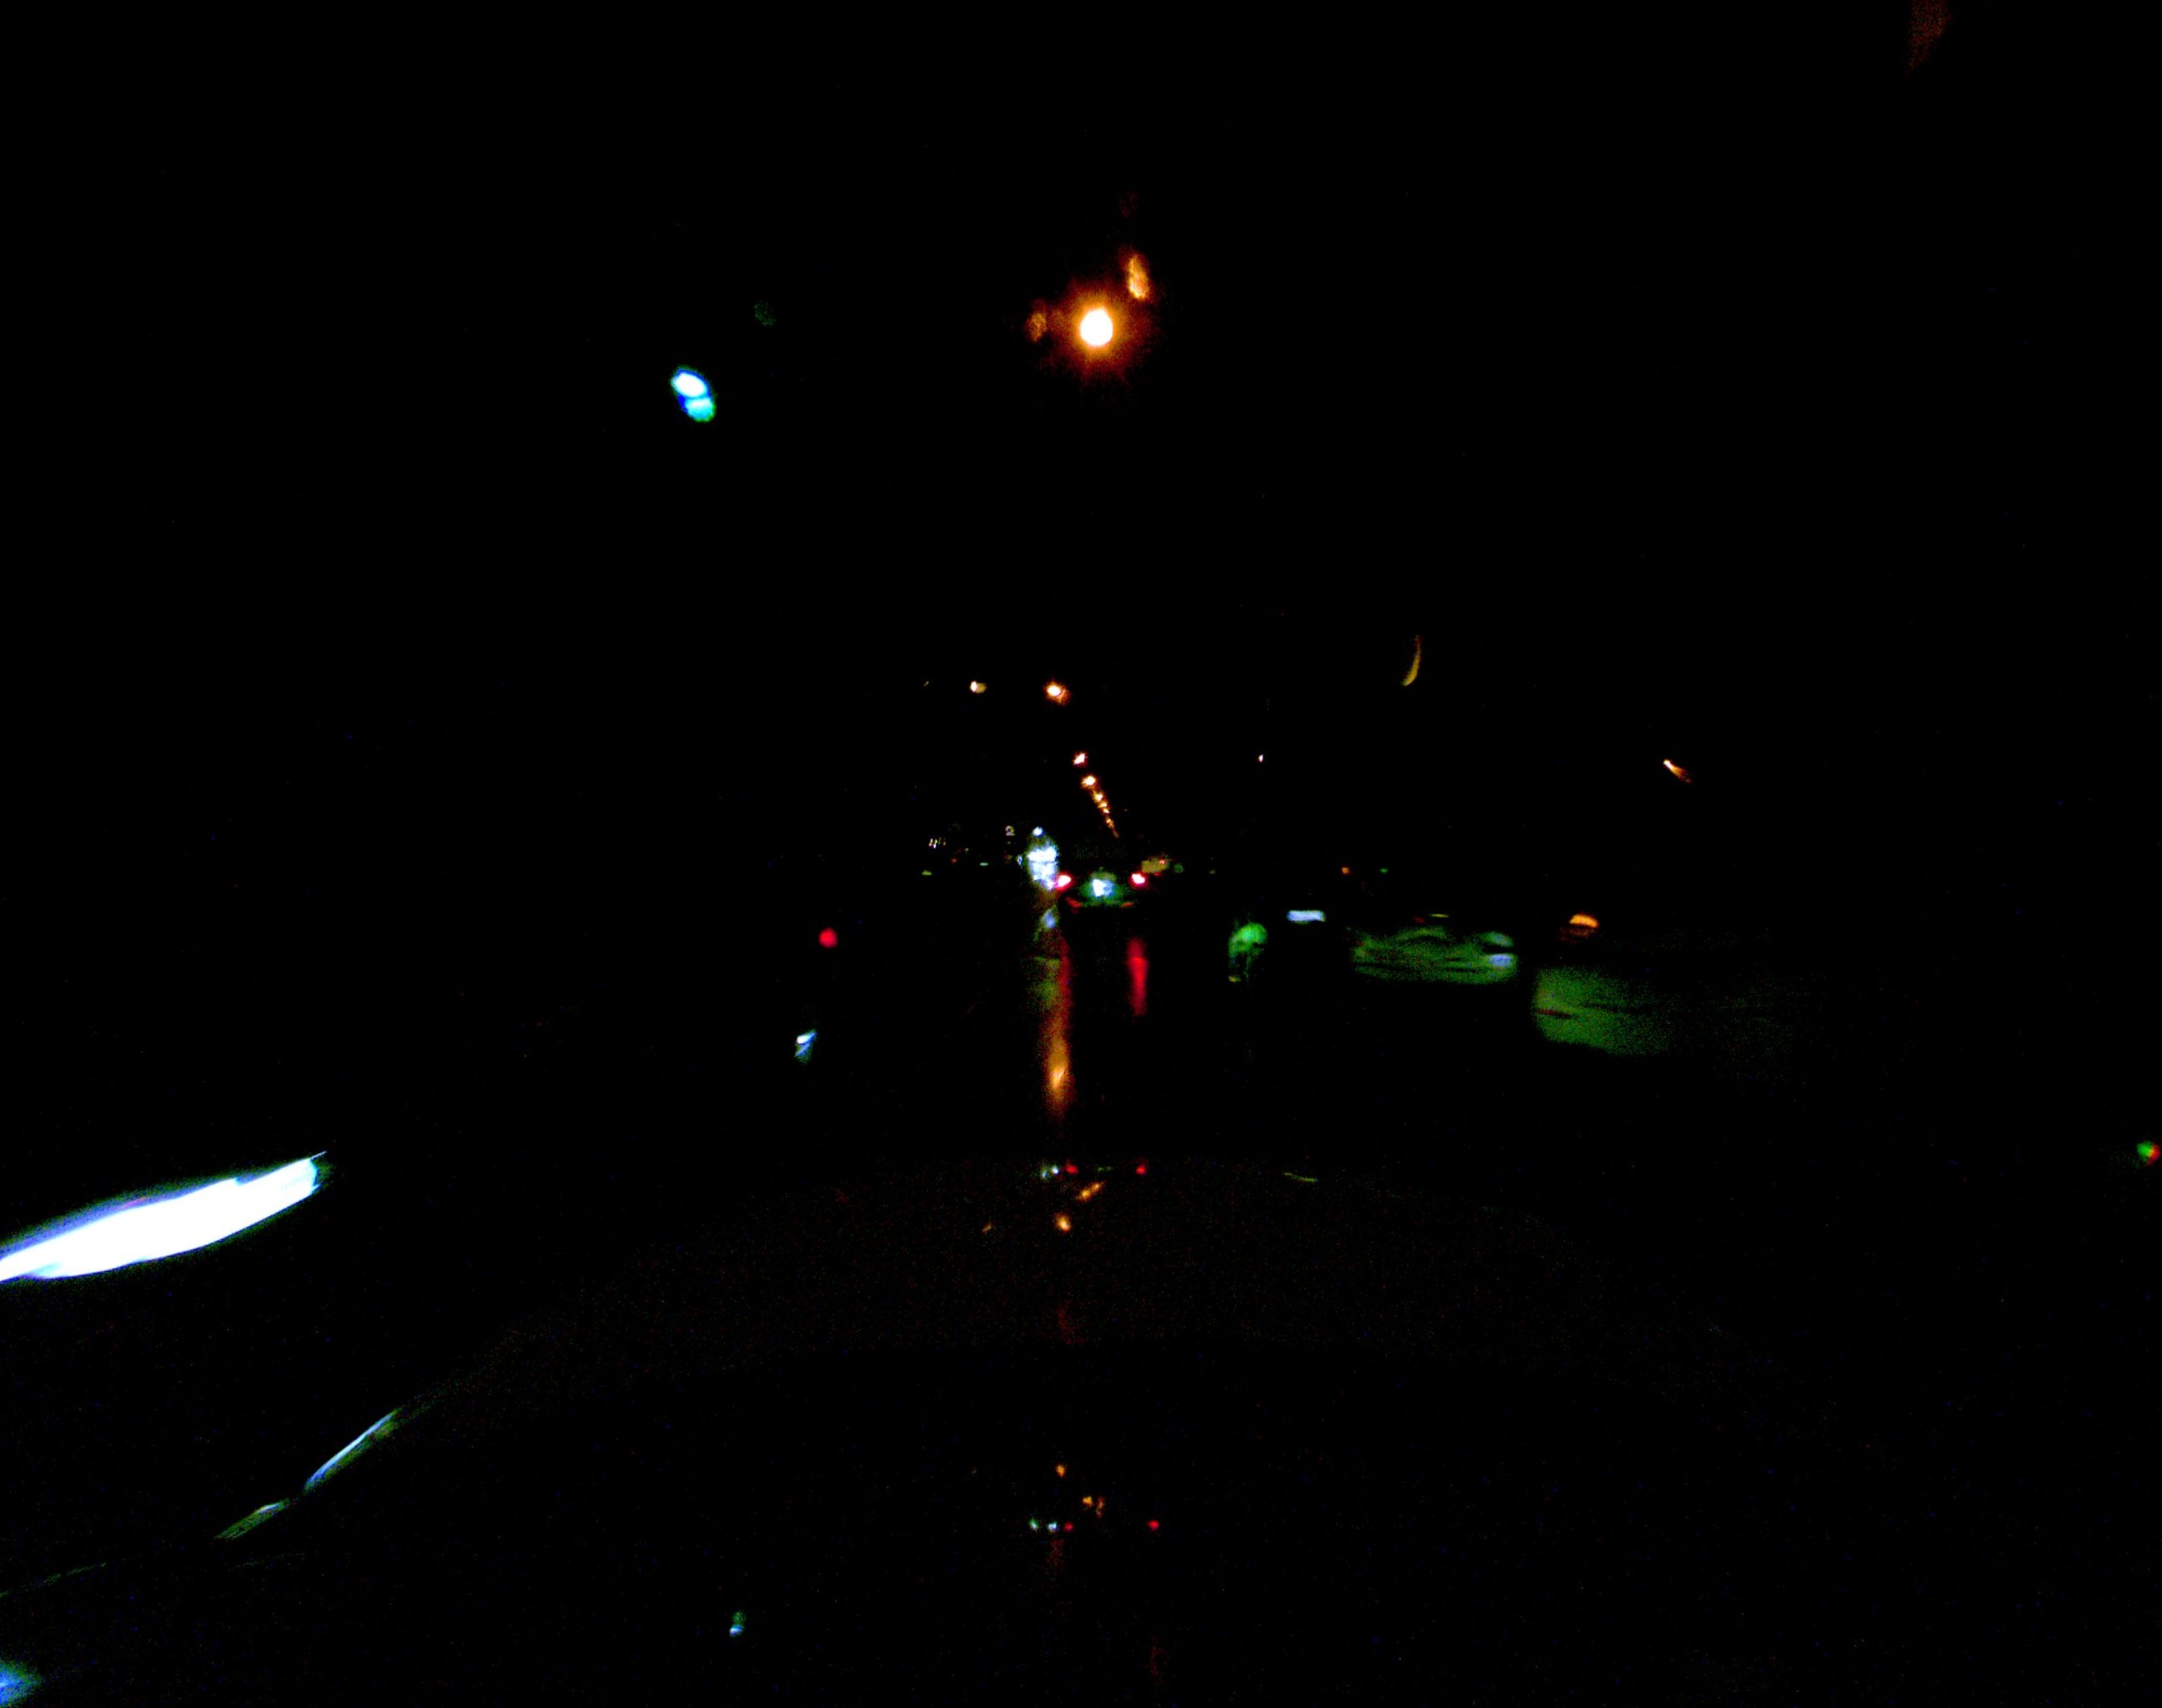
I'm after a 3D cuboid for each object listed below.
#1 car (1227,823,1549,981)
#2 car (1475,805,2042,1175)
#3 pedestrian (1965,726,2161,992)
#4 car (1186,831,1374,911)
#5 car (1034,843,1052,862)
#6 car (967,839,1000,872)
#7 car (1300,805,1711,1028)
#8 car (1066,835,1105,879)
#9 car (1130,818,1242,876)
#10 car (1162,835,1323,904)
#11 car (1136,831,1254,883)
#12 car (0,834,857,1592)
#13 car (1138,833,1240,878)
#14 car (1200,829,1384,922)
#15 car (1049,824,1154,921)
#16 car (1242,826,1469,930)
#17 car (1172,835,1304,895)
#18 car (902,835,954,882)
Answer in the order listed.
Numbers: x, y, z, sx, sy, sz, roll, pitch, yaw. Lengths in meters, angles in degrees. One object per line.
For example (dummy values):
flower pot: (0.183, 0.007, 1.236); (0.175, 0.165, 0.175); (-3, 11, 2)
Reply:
car: (4.123, 0.492, 10.742); (4.200, 1.590, 1.714); (-4, 1, -31)
car: (4.611, 0.499, 5.338); (4.204, 1.457, 1.837); (-4, 1, -36)
pedestrian: (7.821, 0.021, 6.259); (0.953, 1.881, 1.001); (-2, 1, 3)
car: (4.887, 0.364, 20.067); (4.184, 1.645, 1.759); (-3, 1, -19)
car: (-4.087, -0.194, 87.689); (1.719, 1.972, 4.219); (-1, 1, -1)
car: (-6.250, 0.058, 52.037); (1.726, 1.972, 3.712); (-1, 1, -12)
car: (4.301, 0.396, 8.012); (4.204, 1.576, 1.861); (-4, 1, -36)
car: (0.150, 0.114, 38.807); (1.719, 1.972, 4.219); (-1, 1, -1)
car: (4.933, -0.373, 38.049); (5.032, 2.391, 2.116); (-4, 1, -36)
car: (4.616, 0.398, 23.332); (4.184, 1.645, 1.759); (-3, 1, -19)
car: (4.259, 0.070, 30.133); (4.205, 1.645, 1.751); (-4, 1, -36)
car: (-2.783, 0.730, 4.109); (1.781, 1.554, 4.857); (-1, 1, 2)
car: (4.617, 0.043, 34.609); (4.205, 1.645, 1.751); (-4, 1, -36)
car: (4.652, 0.384, 17.660); (4.207, 1.645, 1.643); (-4, 2, -39)
car: (0.525, 0.364, 19.261); (2.159, 1.972, 4.305); (-2, 1, 2)
car: (4.946, 0.334, 14.433); (4.205, 1.475, 1.643); (-4, 1, -36)
car: (5.114, 0.314, 26.333); (4.205, 1.645, 1.751); (-4, 1, -36)
car: (-7.013, 0.156, 37.085); (1.995, 1.972, 4.280); (-1, 1, -15)
